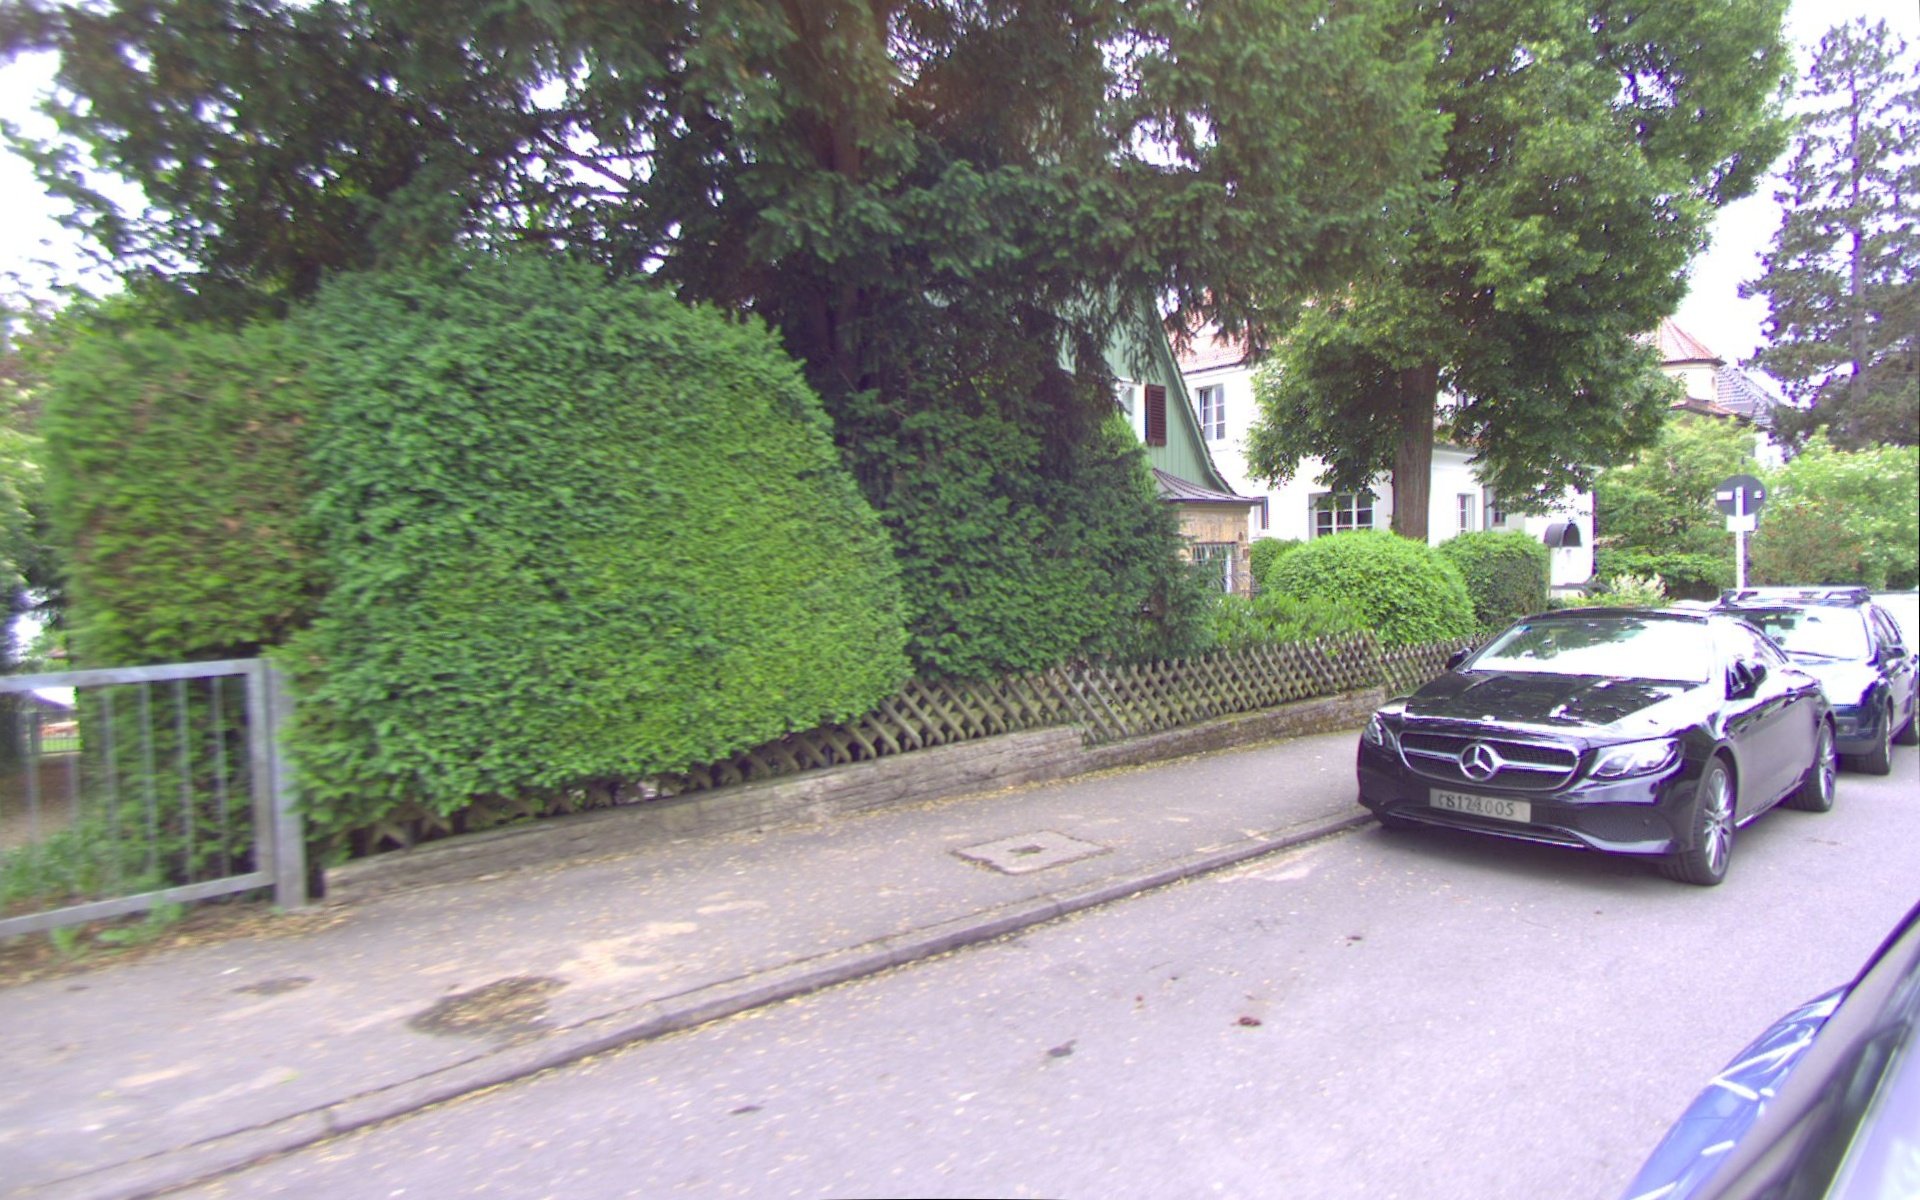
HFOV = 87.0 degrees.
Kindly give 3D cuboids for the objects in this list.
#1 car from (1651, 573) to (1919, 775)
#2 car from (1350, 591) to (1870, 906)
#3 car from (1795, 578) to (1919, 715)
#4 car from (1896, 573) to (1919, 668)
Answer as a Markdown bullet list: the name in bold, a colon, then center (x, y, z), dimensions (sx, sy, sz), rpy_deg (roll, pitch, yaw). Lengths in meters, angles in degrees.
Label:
- **car**: center (8.473, 0.550, 10.061), dimensions (4.235, 1.590, 1.701), rpy_deg (-1, 1, -42)
- **car**: center (4.567, 0.674, 6.773), dimensions (4.578, 1.442, 1.655), rpy_deg (0, 0, -40)
- **car**: center (12.802, 0.536, 13.744), dimensions (4.499, 1.626, 1.758), rpy_deg (0, 0, -44)
- **car**: center (20.648, 0.383, 20.731), dimensions (4.084, 1.853, 1.685), rpy_deg (0, -2, -41)
